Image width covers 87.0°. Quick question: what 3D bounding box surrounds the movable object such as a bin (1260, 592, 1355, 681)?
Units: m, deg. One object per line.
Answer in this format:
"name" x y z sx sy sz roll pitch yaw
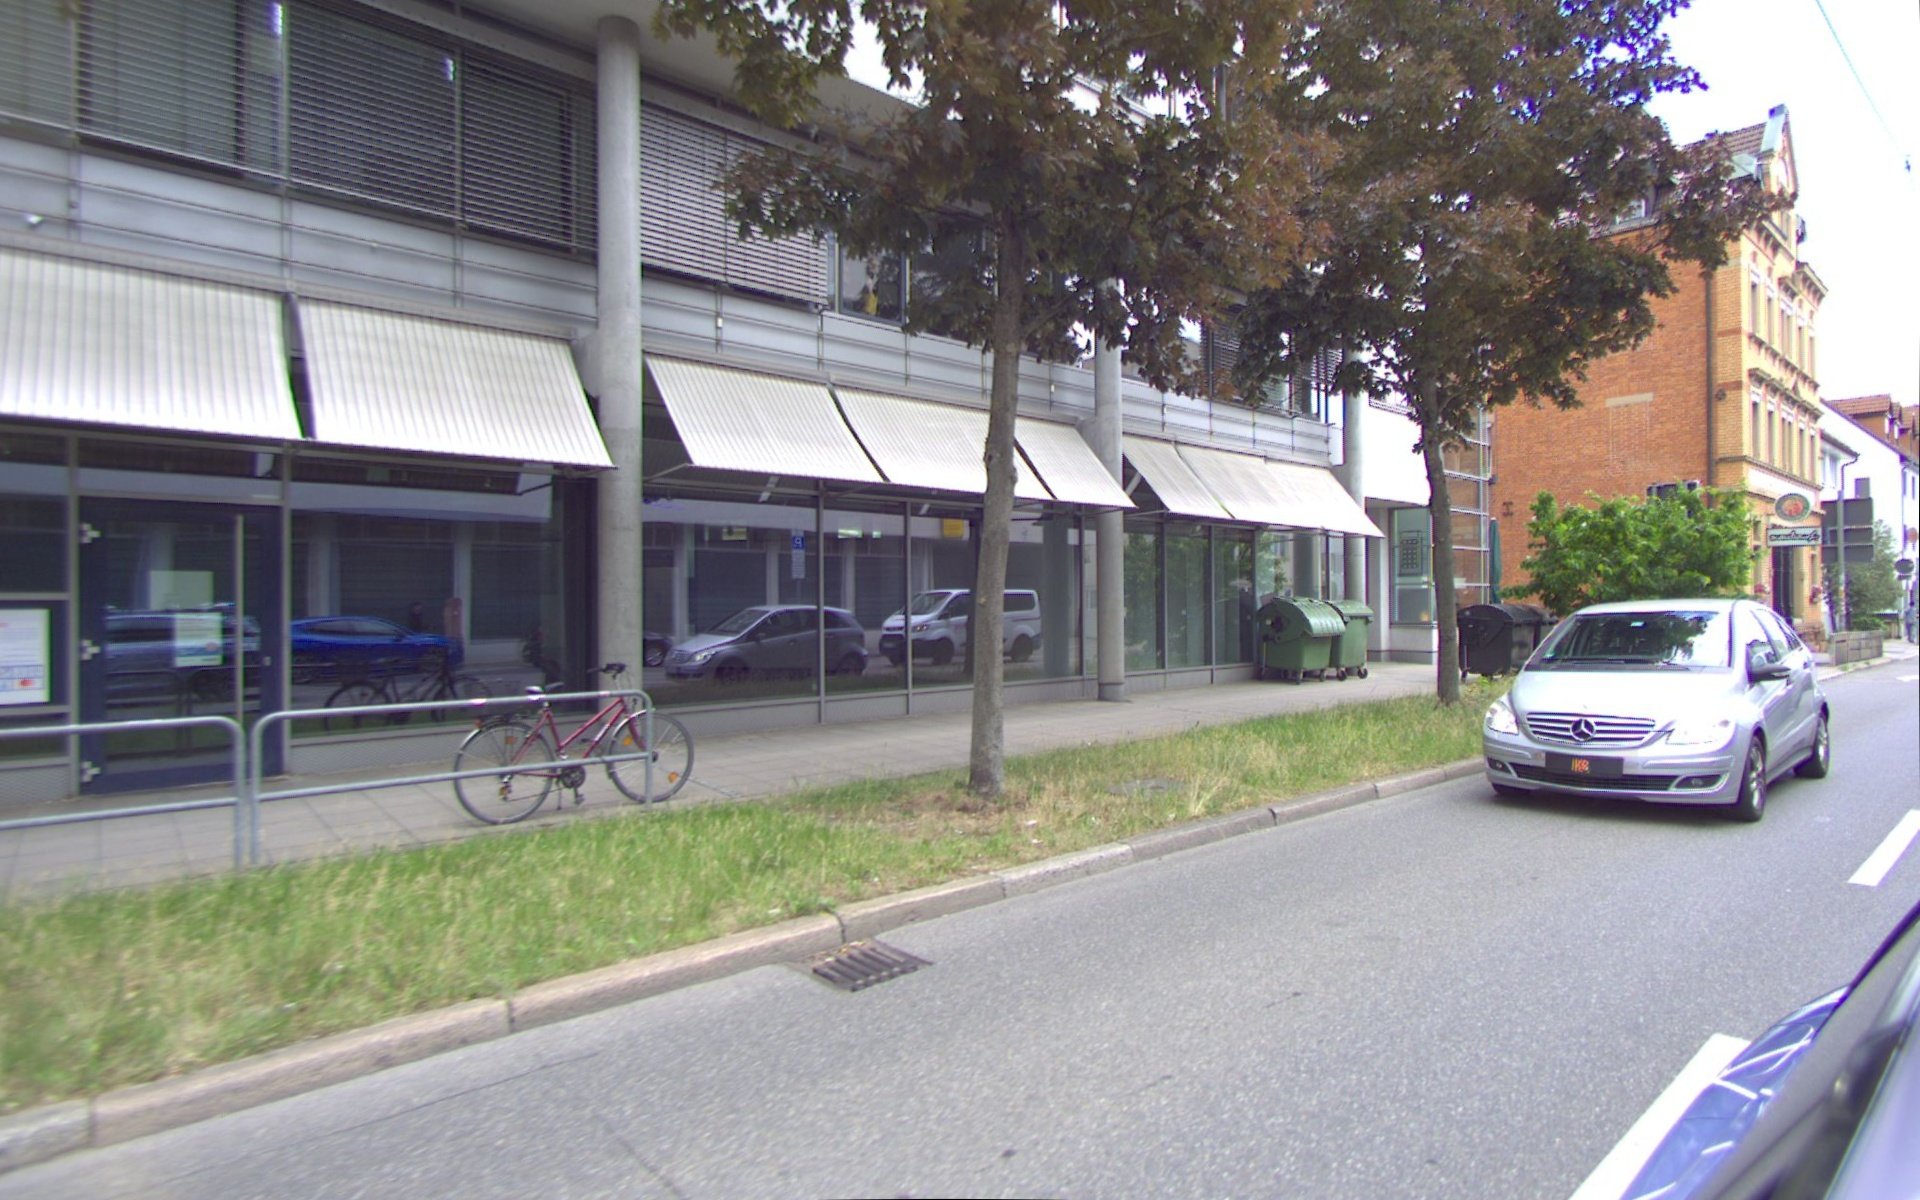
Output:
"movable object such as a bin" 6.195 0.616 18.031 1.310 1.484 1.099 0 1 -42

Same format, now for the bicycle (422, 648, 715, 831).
"bicycle" -2.768 0.941 7.356 1.993 1.100 0.361 0 -1 -43

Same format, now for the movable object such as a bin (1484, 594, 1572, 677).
"movable object such as a bin" 10.772 0.638 19.190 1.310 1.484 1.099 0 1 -42

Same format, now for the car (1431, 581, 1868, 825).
"car" 6.116 0.694 8.764 4.491 1.566 1.996 0 -2 -41

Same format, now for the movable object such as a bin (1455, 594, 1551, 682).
"movable object such as a bin" 9.799 0.645 18.254 1.388 1.484 1.129 0 1 -42

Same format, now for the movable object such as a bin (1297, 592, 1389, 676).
"movable object such as a bin" 7.171 0.605 18.947 1.310 1.484 1.123 0 1 -42

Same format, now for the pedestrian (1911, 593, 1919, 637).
"pedestrian" 38.841 0.605 40.793 0.639 1.753 0.689 0 -1 -43
